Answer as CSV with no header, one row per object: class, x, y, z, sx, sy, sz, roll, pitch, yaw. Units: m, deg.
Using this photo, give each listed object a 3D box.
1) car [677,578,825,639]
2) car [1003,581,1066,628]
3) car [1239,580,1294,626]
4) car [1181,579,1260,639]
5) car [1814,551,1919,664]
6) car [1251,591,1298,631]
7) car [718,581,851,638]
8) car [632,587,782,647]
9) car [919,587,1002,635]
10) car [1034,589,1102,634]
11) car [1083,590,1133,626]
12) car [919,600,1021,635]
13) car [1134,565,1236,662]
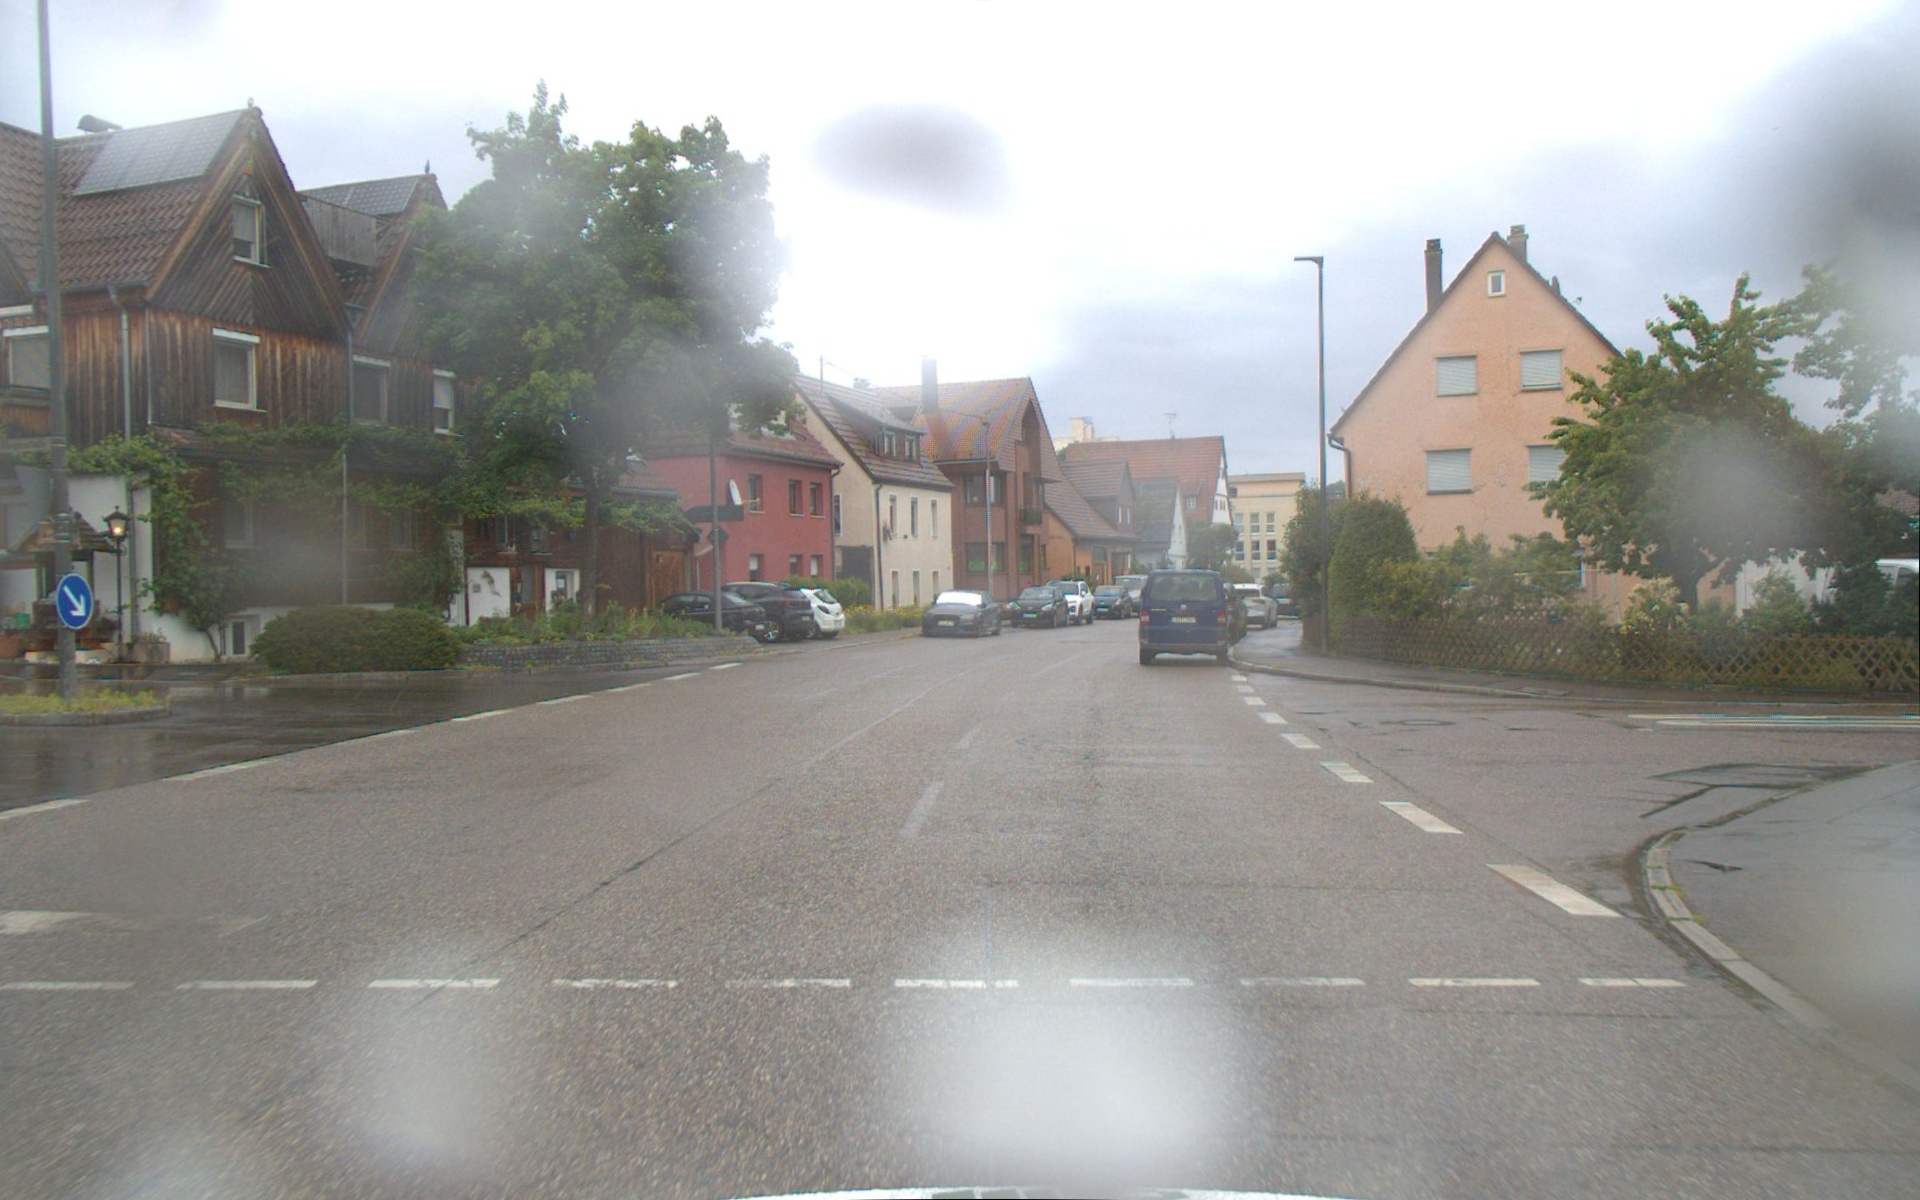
car,-5.636,0.194,44.769,3.501,1.532,1.856,1,1,19
car,2.788,0.161,61.085,1.571,1.646,3.278,-1,0,16
car,11.192,0.101,60.151,1.764,1.623,4.615,0,0,13
car,8.075,0.238,50.979,1.868,1.747,4.559,1,1,16
car,19.067,0.118,32.621,1.905,2.120,5.187,0,1,2
car,14.678,0.491,76.969,1.712,1.739,4.003,-1,0,17
car,-5.000,0.266,47.132,3.388,1.505,1.591,-1,0,18
car,-6.449,0.428,42.224,3.373,1.443,1.633,-1,0,18
car,0.057,0.297,50.874,1.592,1.379,4.114,1,1,14
car,4.322,0.432,65.576,1.727,1.647,4.660,-1,0,16
car,6.707,0.341,74.646,1.545,1.523,3.570,-1,0,16
car,0.429,0.782,72.944,4.087,1.427,1.789,-2,0,23
car,4.786,0.258,35.735,1.890,1.935,4.796,1,0,4
